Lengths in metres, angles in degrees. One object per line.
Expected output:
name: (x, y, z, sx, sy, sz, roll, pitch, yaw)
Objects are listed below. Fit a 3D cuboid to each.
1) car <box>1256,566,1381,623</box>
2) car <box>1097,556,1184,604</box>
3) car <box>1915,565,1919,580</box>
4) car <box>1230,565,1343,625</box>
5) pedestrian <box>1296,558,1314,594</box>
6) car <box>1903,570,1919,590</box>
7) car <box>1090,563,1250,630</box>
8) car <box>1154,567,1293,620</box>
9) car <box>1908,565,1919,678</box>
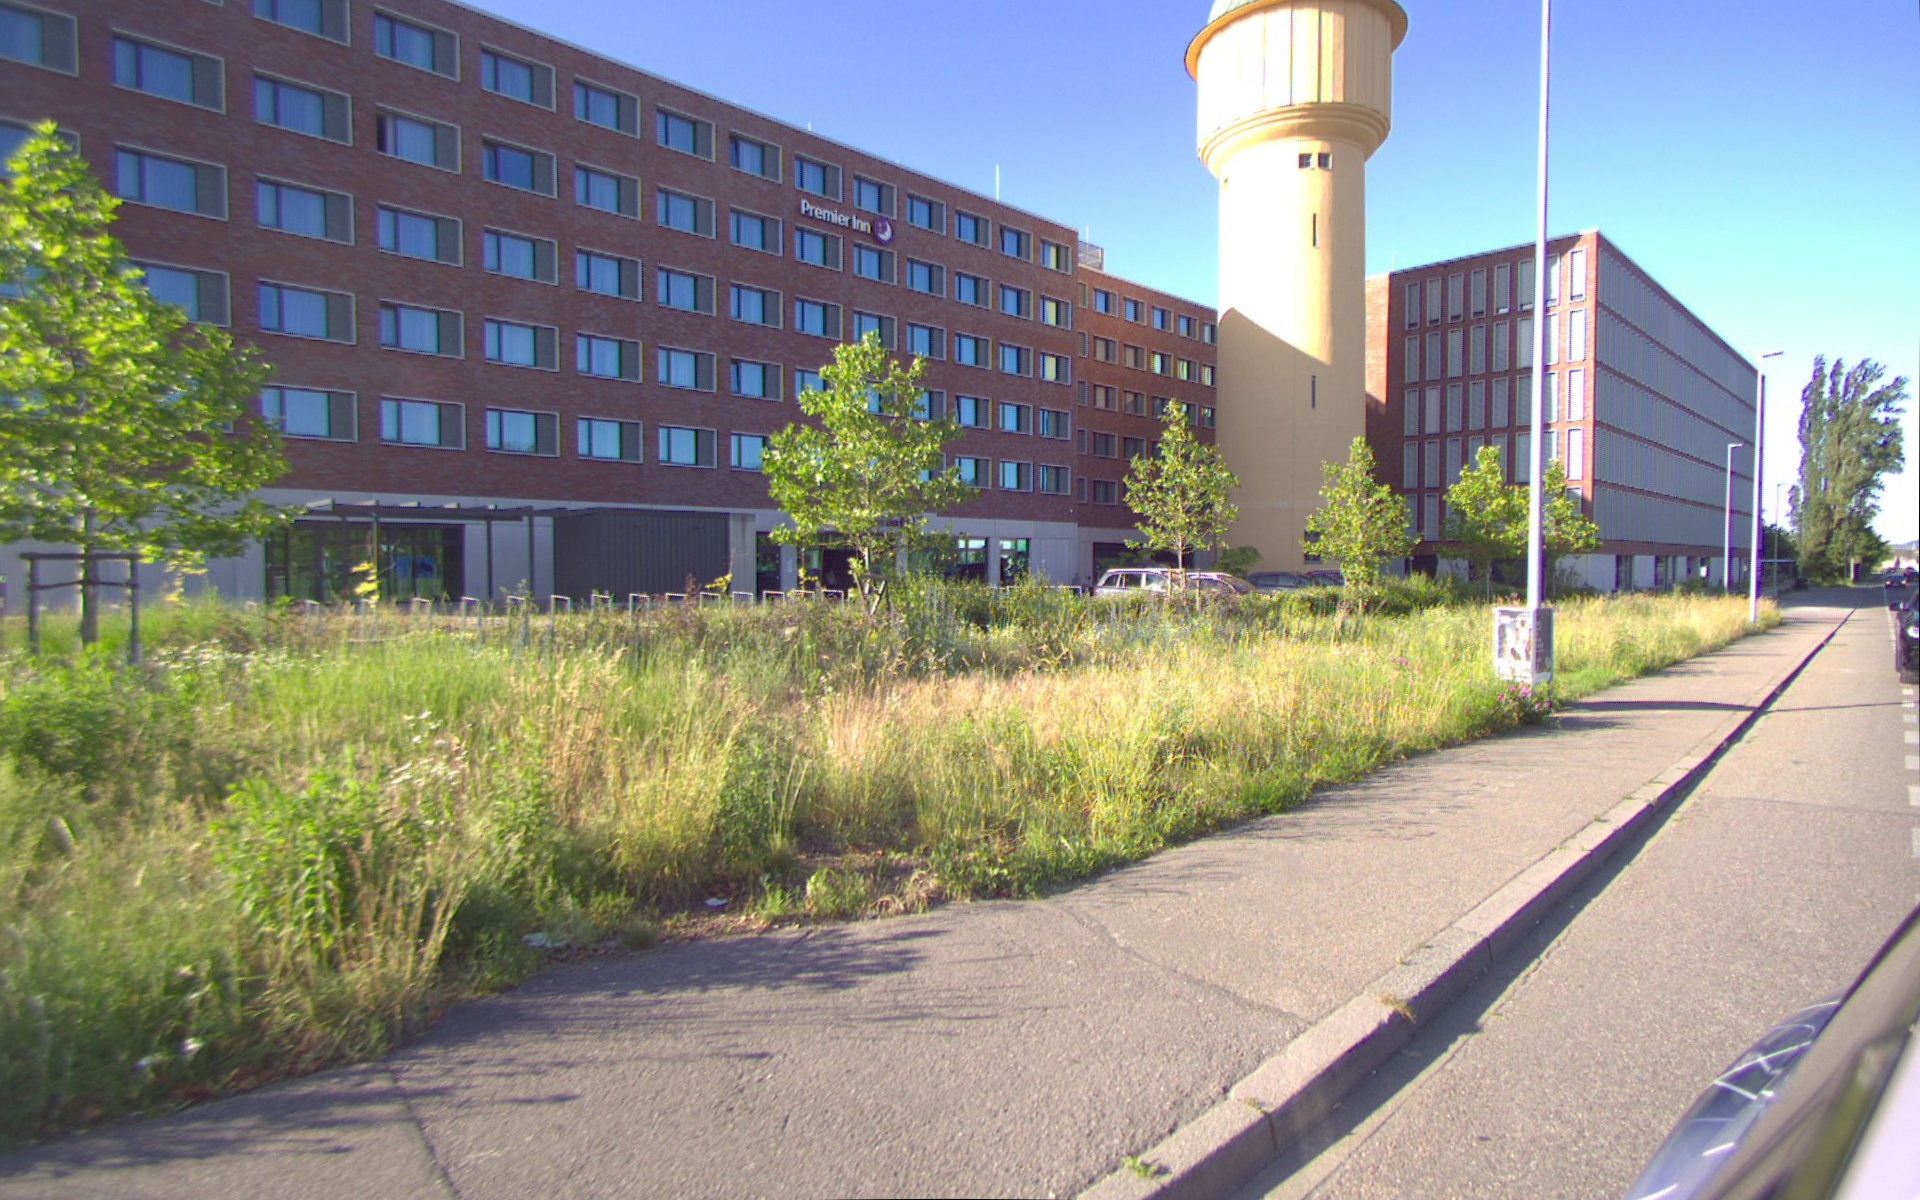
car: (13.343, -0.226, 37.815, 1.966, 2.005, 3.993, -1, 1, -42)
car: (9.038, -0.989, 50.535, 1.864, 2.292, 4.858, 1, 1, 45)
car: (134.966, -3.883, 141.607, 1.993, 2.039, 3.938, 1, 1, 43)
car: (11.731, -0.197, 36.473, 1.806, 2.046, 3.475, -1, 1, -45)
pedestrian: (18.560, -1.285, 54.447, 0.885, 1.887, 0.964, -1, 0, 22)
car: (100.797, -2.112, 106.723, 1.993, 2.039, 3.938, 1, 1, 43)
car: (6.175, -0.142, 30.126, 1.968, 1.851, 4.321, -1, 1, -45)
car: (8.353, -0.239, 32.340, 1.803, 1.569, 3.993, -1, 1, -42)
car: (16.973, 0.299, 16.616, 2.041, 1.736, 4.677, 0, 1, 43)
